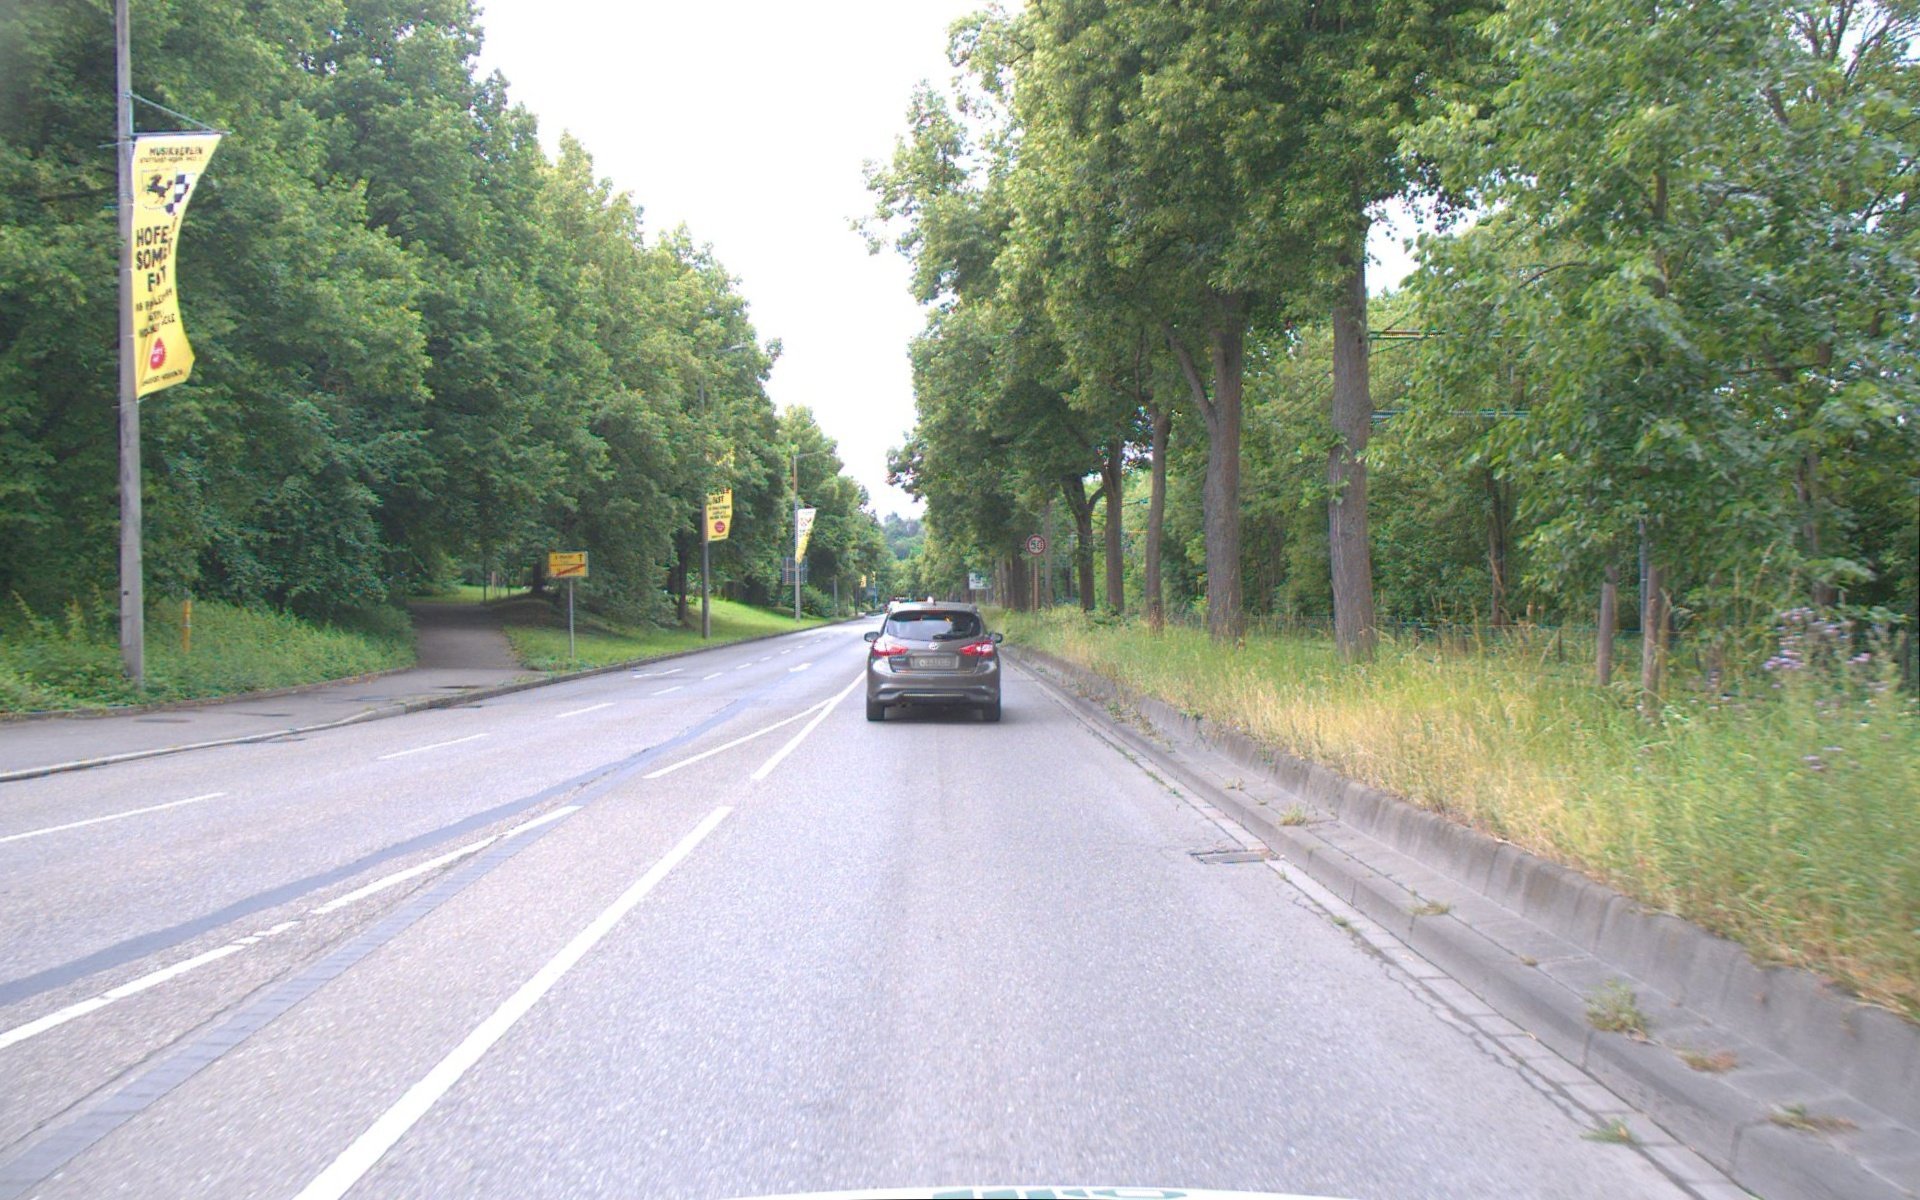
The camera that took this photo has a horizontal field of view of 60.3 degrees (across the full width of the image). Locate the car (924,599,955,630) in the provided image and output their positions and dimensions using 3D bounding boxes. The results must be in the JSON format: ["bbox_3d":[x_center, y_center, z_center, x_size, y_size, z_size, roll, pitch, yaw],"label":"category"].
[{"bbox_3d":[-1.020,0.750,84.678,1.472,1.555,3.671,1,-1,1],"label":"car"}]

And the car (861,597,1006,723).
[{"bbox_3d":[-0.307,0.766,22.601,1.799,1.555,3.929,0,0,1],"label":"car"}]
